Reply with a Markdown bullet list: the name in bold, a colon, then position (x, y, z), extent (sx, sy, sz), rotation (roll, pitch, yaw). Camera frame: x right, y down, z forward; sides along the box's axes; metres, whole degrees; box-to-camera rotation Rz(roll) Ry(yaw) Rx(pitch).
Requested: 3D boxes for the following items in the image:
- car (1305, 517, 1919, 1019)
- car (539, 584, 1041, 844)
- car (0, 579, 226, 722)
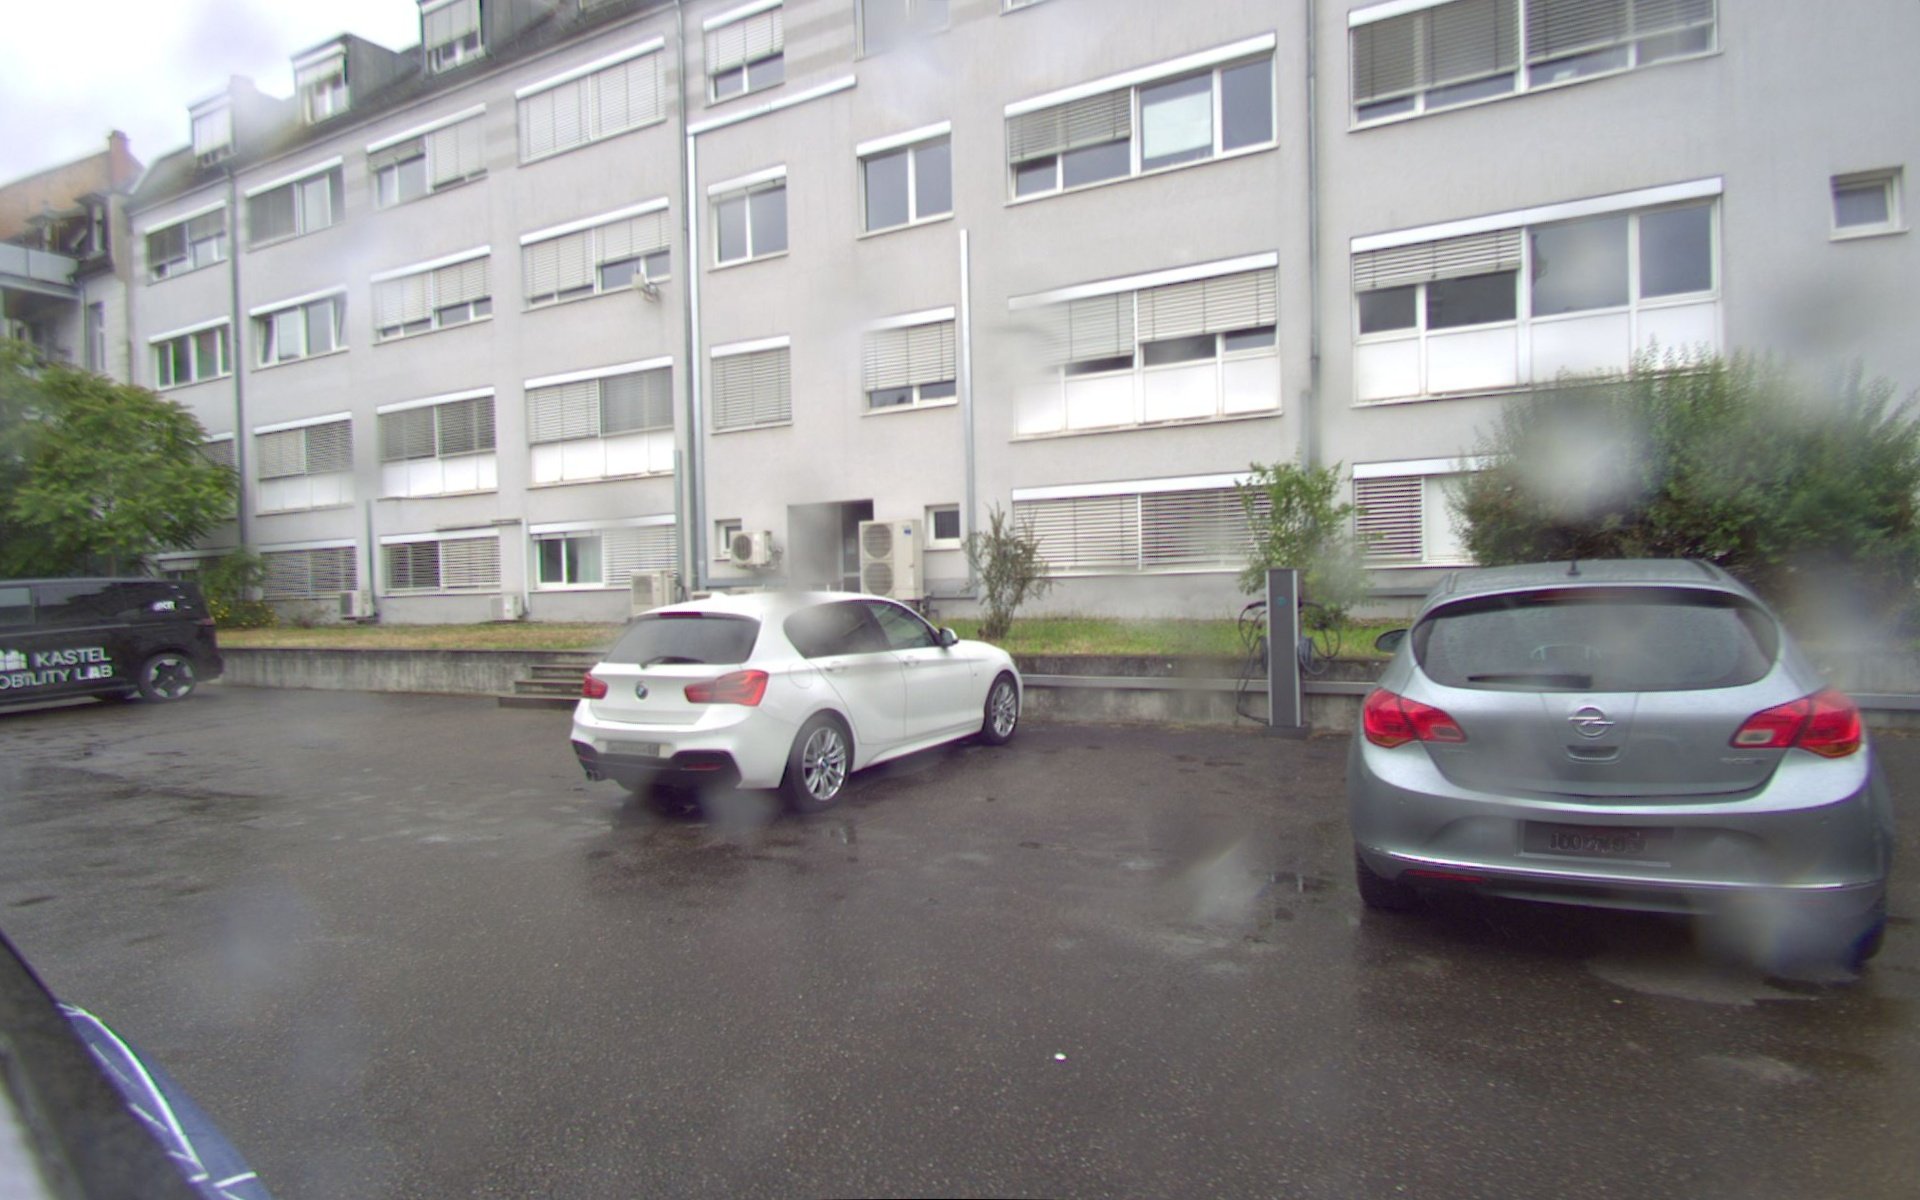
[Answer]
- **car**: position (3.120, 0.485, 5.240), extent (1.814, 1.495, 4.139), rotation (-2, 0, 29)
- **car**: position (-0.997, 0.632, 7.990), extent (1.745, 1.444, 4.113), rotation (-1, 1, 29)
- **car**: position (-13.367, 0.709, 14.153), extent (1.978, 1.850, 4.591), rotation (-3, 0, 26)
